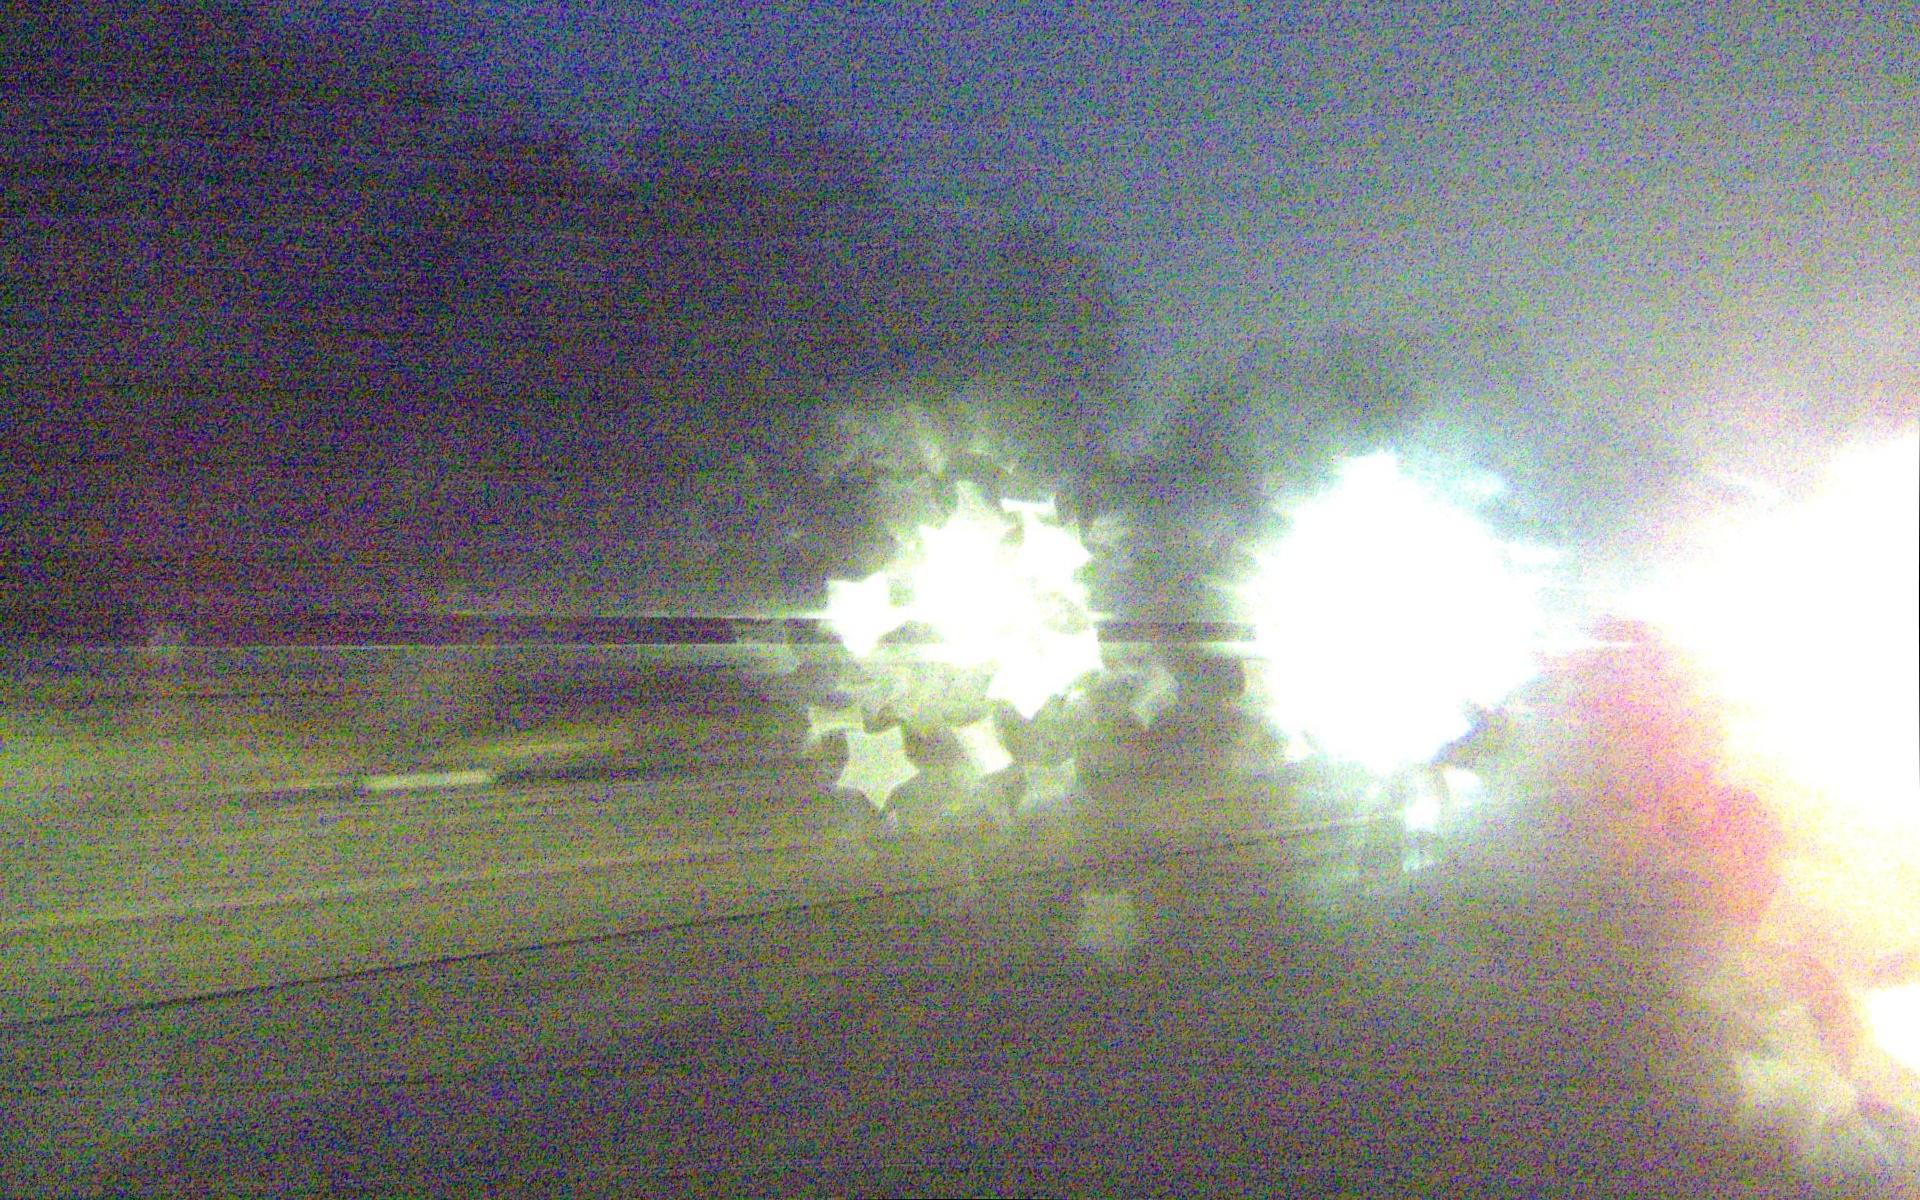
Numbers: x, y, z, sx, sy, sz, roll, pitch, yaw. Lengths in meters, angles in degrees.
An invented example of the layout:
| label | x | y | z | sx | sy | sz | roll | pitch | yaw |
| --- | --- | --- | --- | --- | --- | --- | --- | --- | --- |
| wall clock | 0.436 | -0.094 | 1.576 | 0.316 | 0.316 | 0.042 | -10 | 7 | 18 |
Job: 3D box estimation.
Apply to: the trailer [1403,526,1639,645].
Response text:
| label | x | y | z | sx | sy | sz | roll | pitch | yaw |
| --- | --- | --- | --- | --- | --- | --- | --- | --- | --- |
| trailer | 19.266 | -0.328 | 34.106 | 10.340 | 3.519 | 2.593 | 2 | 0 | -34 |

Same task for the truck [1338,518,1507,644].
| label | x | y | z | sx | sy | sz | roll | pitch | yaw |
| --- | --- | --- | --- | --- | --- | --- | --- | --- | --- |
| truck | 14.088 | -0.513 | 30.555 | 4.593 | 3.503 | 2.588 | 2 | 0 | -34 |

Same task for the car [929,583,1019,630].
| label | x | y | z | sx | sy | sz | roll | pitch | yaw |
| --- | --- | --- | --- | --- | --- | --- | --- | --- | --- |
| car | 0.628 | 0.272 | 40.539 | 1.804 | 1.736 | 3.991 | 2 | 0 | 31 |

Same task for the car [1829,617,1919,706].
| label | x | y | z | sx | sy | sz | roll | pitch | yaw |
| --- | --- | --- | --- | --- | --- | --- | --- | --- | --- |
| car | 18.899 | 1.162 | 19.494 | 4.861 | 1.537 | 1.757 | 1 | 0 | -33 |
